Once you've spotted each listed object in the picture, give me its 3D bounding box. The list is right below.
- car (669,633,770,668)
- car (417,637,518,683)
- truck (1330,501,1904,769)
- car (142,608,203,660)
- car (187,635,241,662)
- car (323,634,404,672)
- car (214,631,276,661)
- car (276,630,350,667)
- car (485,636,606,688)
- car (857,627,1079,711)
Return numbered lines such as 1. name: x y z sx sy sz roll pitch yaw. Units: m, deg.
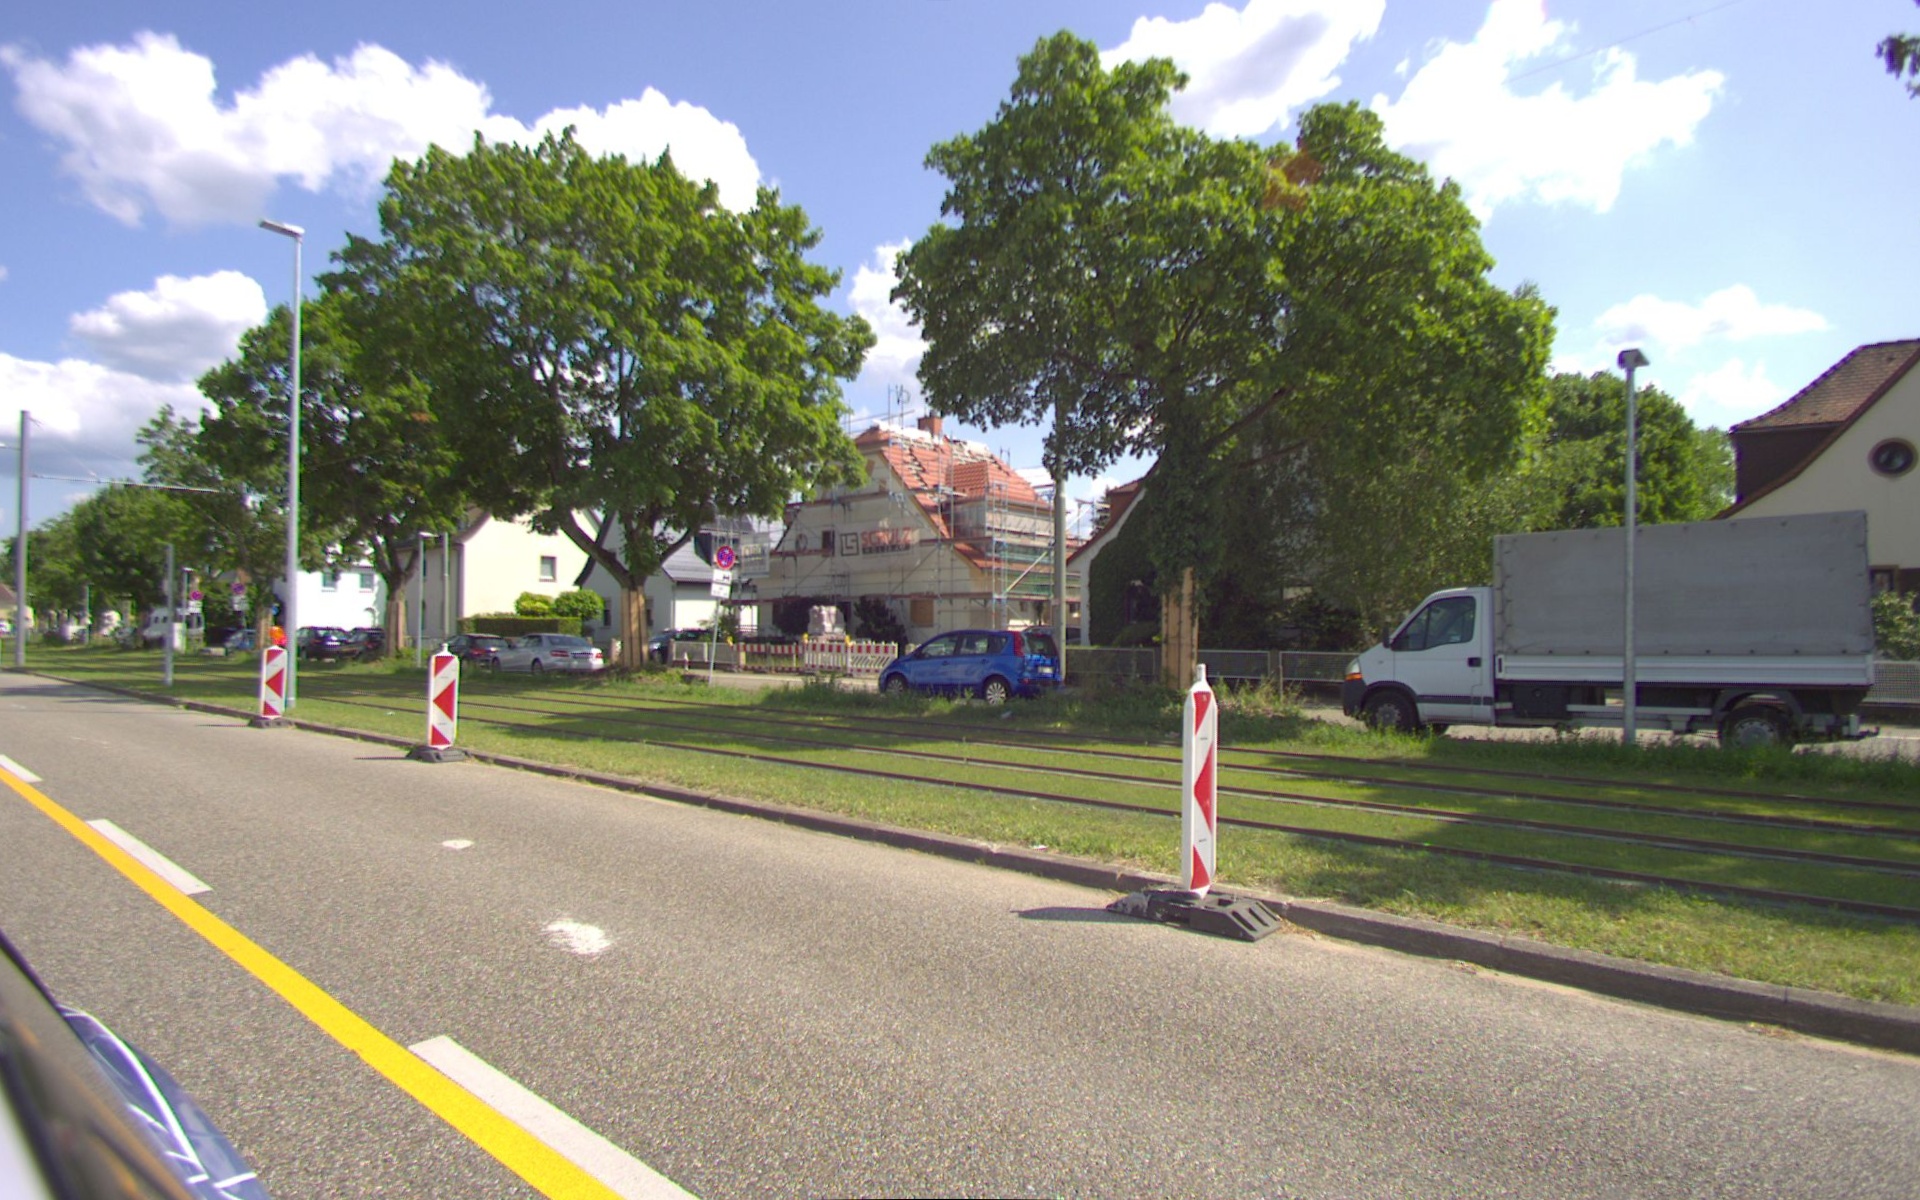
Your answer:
1. car: -10.927 2.298 46.216 1.702 1.497 4.345 -3 -3 41
2. car: -17.522 2.124 35.898 4.403 1.497 1.680 -3 -3 41
3. truck: 8.298 0.458 13.408 5.971 2.802 2.242 -2 -3 41
4. car: -49.517 2.168 63.612 5.080 3.061 2.108 -3 -3 41
5. car: -44.478 2.882 60.335 4.403 1.497 1.680 -3 -3 41
6. car: -25.181 2.258 42.656 4.403 1.497 1.680 -3 -3 41
7. car: -37.495 2.434 53.054 4.403 1.497 1.680 -3 -3 41
8. car: -29.495 2.230 46.079 4.403 1.584 1.680 -3 -3 41
9. car: -13.099 1.937 31.874 4.520 1.497 1.765 -4 -3 42
10. car: 0.064 1.356 20.285 4.403 1.497 1.680 -3 -3 41
